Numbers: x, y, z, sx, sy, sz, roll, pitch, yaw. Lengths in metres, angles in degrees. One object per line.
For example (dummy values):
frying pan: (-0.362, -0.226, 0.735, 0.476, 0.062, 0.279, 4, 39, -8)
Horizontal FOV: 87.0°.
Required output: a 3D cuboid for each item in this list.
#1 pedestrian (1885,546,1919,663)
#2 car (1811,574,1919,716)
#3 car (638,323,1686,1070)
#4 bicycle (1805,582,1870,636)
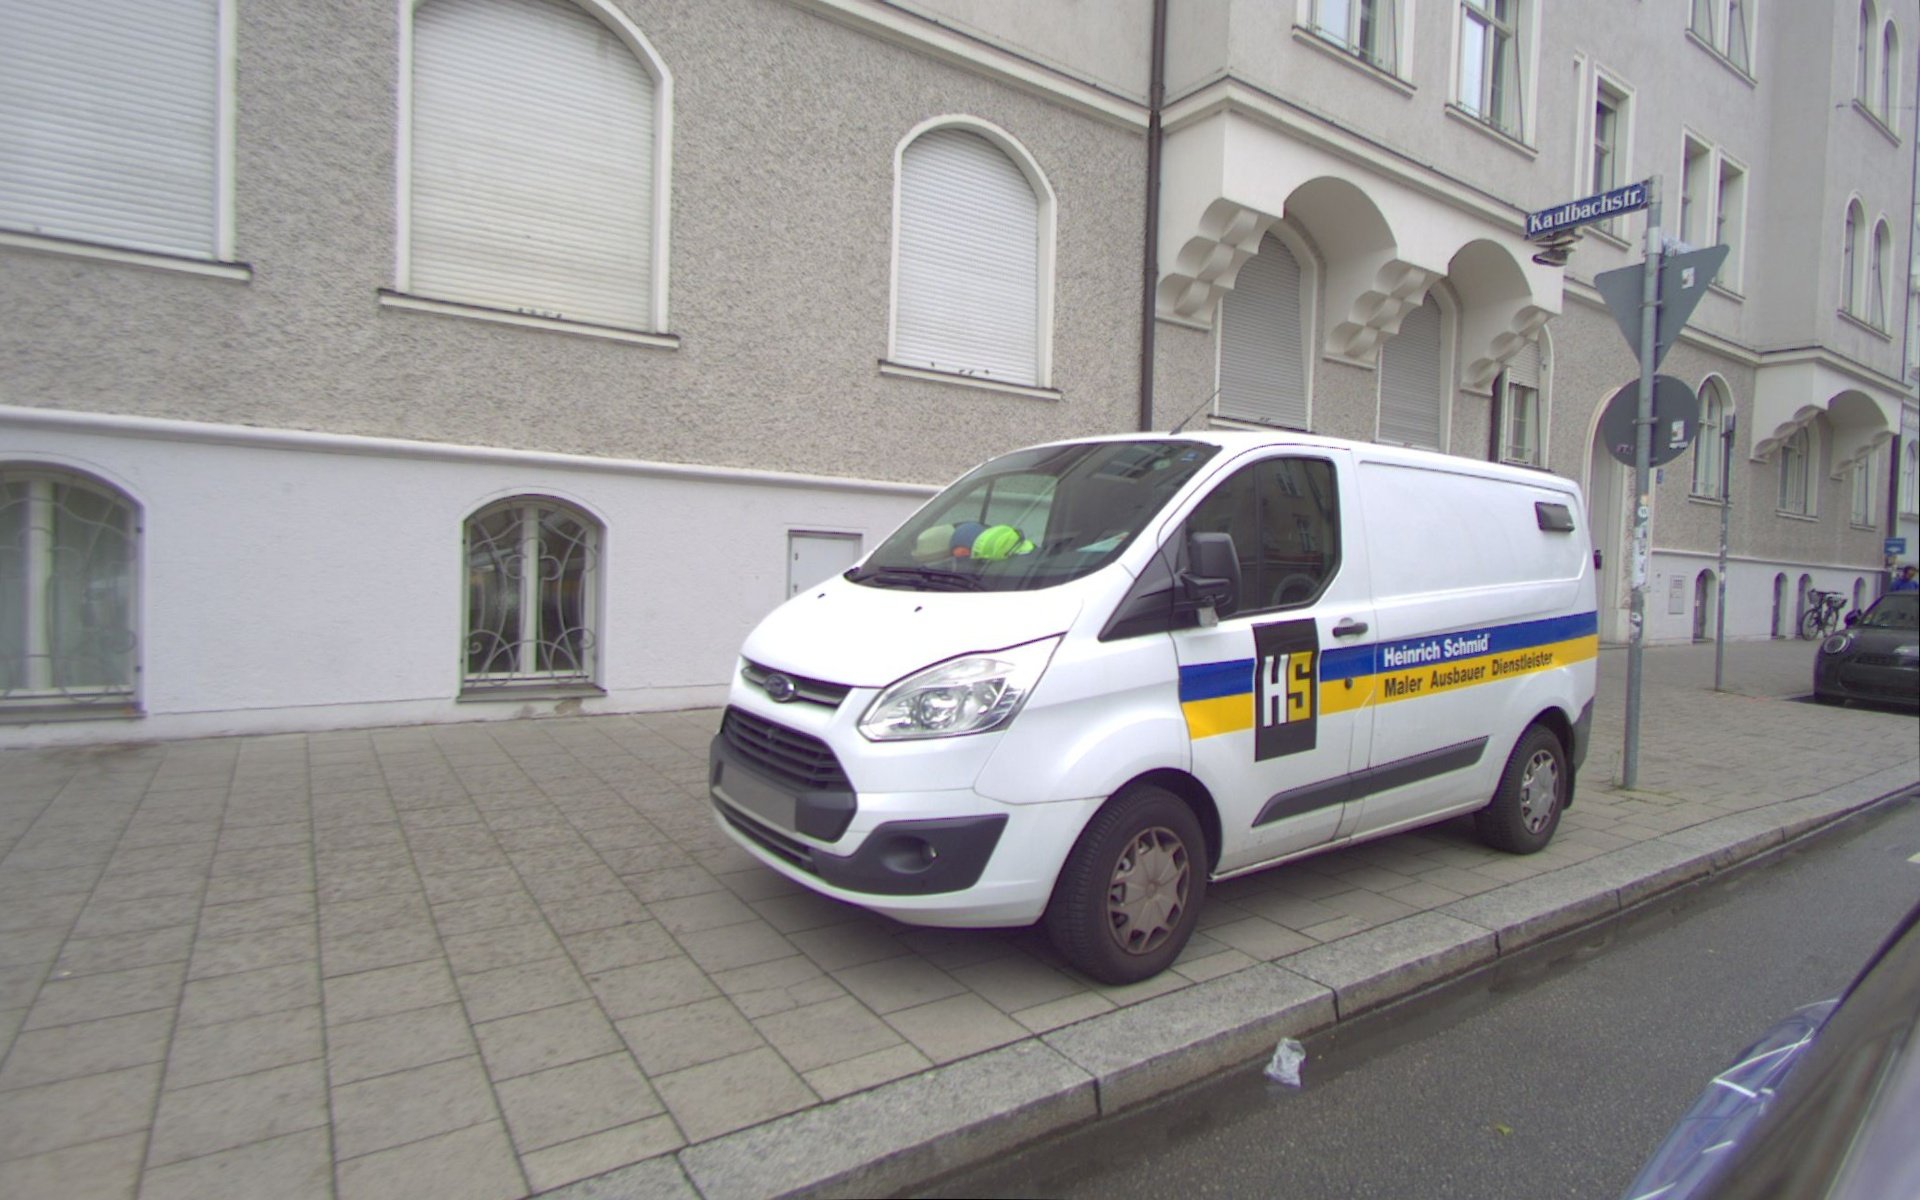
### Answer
pedestrian: (16.963, 0.075, 17.943, 0.713, 2.038, 0.585, 1, 2, -33)
car: (11.657, 0.482, 11.799, 3.755, 1.462, 1.719, 0, 3, -35)
car: (1.375, 0.190, 4.976, 5.274, 1.945, 1.945, 0, 4, -37)
bicycle: (19.828, 0.184, 22.866, 1.689, 1.147, 0.669, 0, 3, -35)
